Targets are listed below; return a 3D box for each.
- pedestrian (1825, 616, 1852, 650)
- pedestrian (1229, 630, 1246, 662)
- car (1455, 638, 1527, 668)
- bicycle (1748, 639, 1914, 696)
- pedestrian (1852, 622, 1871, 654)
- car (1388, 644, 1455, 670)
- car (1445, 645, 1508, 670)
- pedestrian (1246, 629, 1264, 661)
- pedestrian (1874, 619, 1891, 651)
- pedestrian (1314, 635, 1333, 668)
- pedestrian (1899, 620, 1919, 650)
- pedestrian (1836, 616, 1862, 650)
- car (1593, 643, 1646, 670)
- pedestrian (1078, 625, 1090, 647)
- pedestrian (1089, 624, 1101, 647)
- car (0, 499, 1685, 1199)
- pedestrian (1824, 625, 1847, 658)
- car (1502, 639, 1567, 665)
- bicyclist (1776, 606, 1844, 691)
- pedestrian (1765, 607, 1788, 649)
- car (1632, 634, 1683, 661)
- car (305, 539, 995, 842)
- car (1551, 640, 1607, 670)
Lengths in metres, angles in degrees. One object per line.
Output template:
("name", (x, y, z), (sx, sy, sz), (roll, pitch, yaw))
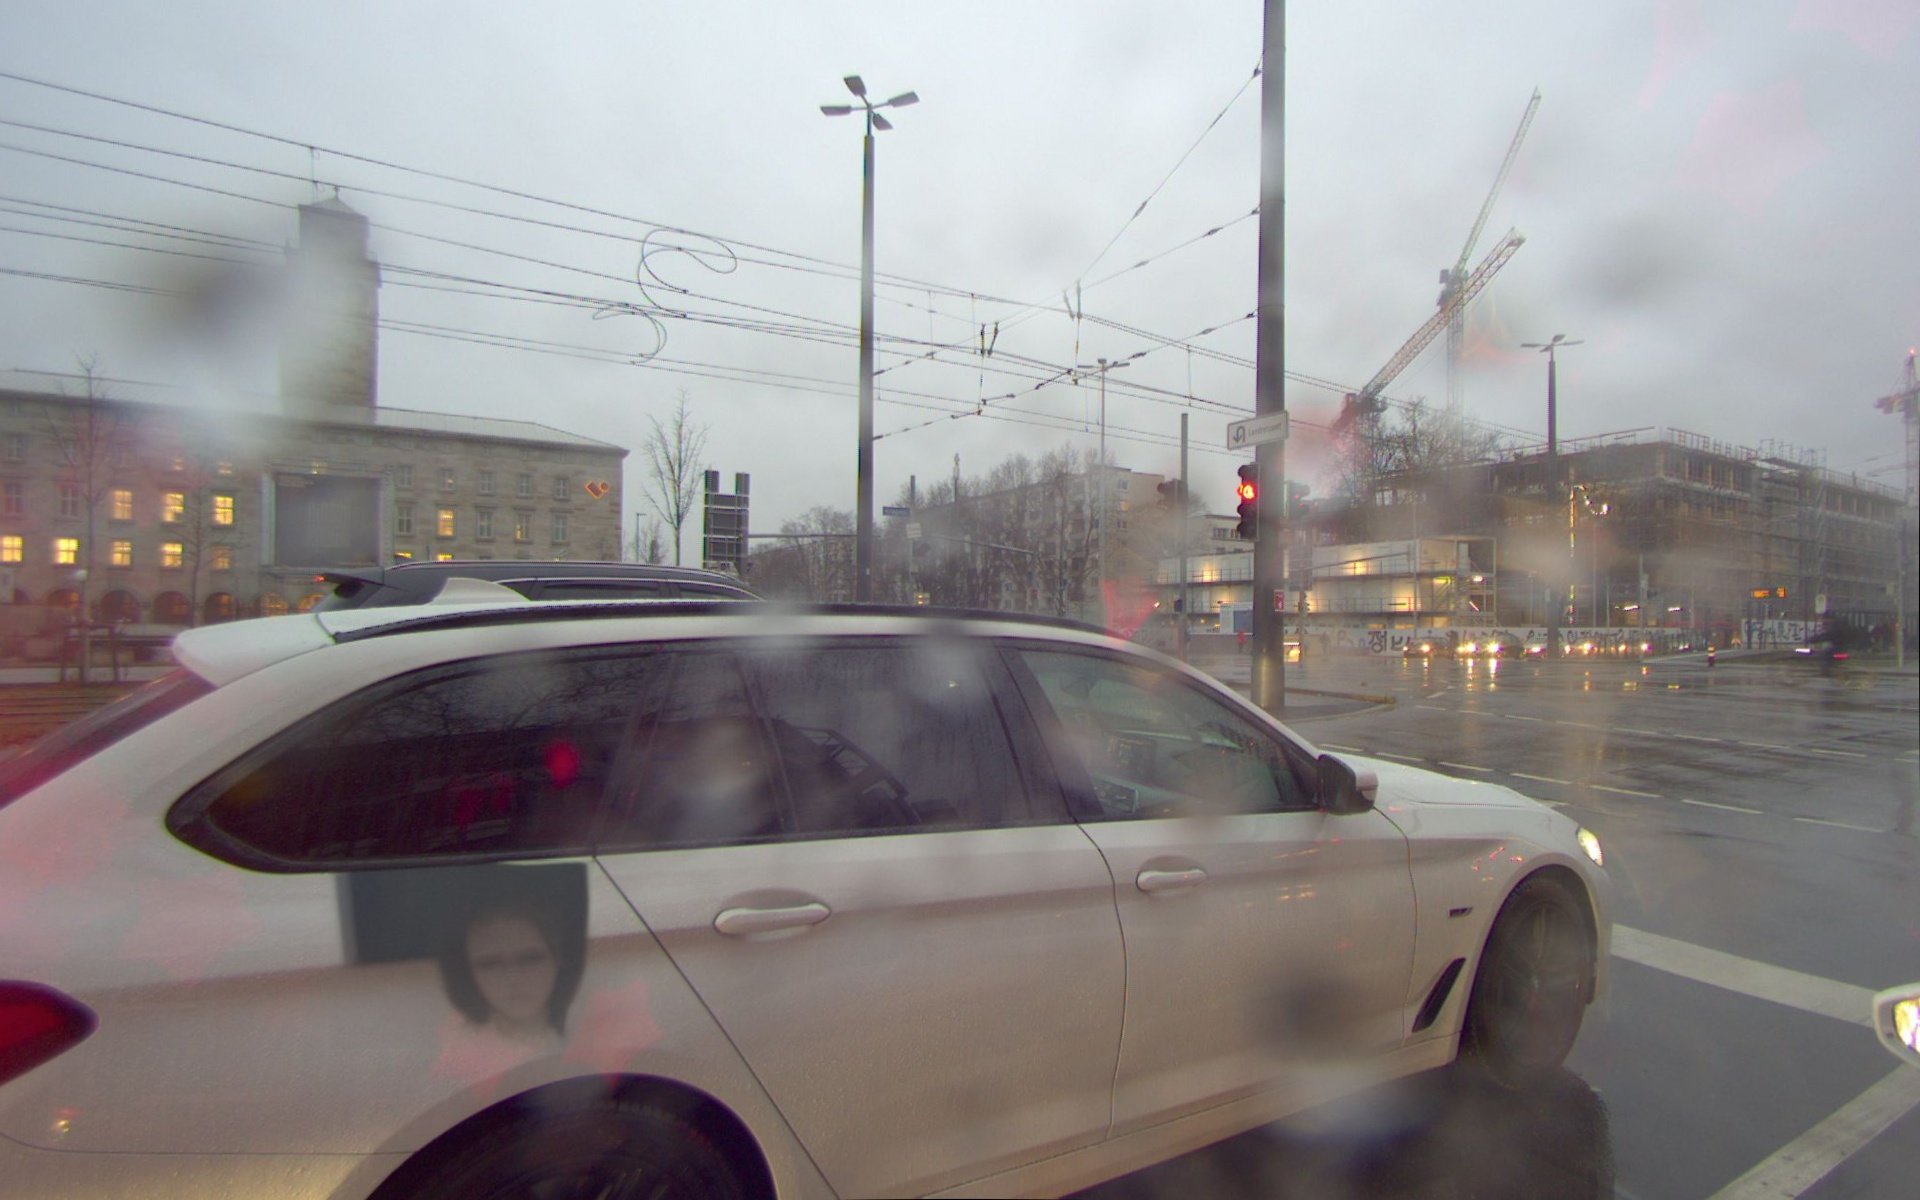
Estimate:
("pedestrian", (53.998, 2.013, 61.753), (1.082, 2.040, 0.937), (2, 0, -32))
("pedestrian", (18.317, 3.019, 66.320), (0.620, 2.040, 0.856), (2, 0, -37))
("car", (31.251, 3.114, 59.091), (3.953, 1.679, 1.984), (2, -2, -30))
("bicycle", (19.992, 1.518, 23.134), (2.825, 1.114, 0.741), (2, 0, 43))
("pedestrian", (54.514, 2.285, 60.722), (0.547, 1.906, 0.695), (2, 0, -30))
("car", (29.185, 3.575, 63.547), (3.953, 1.550, 1.984), (2, -2, -30))
("car", (34.787, 3.856, 67.600), (3.953, 1.550, 1.984), (2, -2, -30))
("pedestrian", (19.452, 2.957, 66.198), (0.737, 2.040, 0.783), (2, 0, -25))
("pedestrian", (57.938, 2.180, 63.086), (0.659, 1.994, 0.566), (2, 1, -36))
("pedestrian", (24.668, 3.517, 68.200), (0.758, 2.194, 0.867), (2, 0, -38))
("pedestrian", (66.063, 2.419, 69.755), (1.082, 2.040, 0.937), (2, 0, -32))
("pedestrian", (55.643, 2.069, 62.860), (1.082, 2.040, 0.937), (2, 0, -32))
("car", (46.507, 3.955, 70.813), (3.965, 1.814, 1.978), (2, 0, -38))
("pedestrian", (10.365, 3.025, 83.742), (0.714, 1.800, 0.789), (1, -1, -23))
("pedestrian", (11.313, 2.999, 84.245), (0.709, 1.927, 0.787), (1, -1, -31))
("car", (0.000, 0.697, 3.067), (4.508, 1.506, 2.007), (2, -2, -31))
("pedestrian", (51.645, 2.437, 59.251), (0.754, 1.922, 0.761), (3, -1, -30))
("car", (35.877, 3.247, 62.717), (4.577, 1.550, 2.059), (2, -2, -40))
("bicyclist", (19.762, 1.114, 23.361), (1.143, 1.896, 0.741), (2, 0, 42))
("pedestrian", (47.093, 1.624, 57.950), (0.754, 2.354, 0.761), (3, -1, -30))
("car", (51.183, 3.461, 73.740), (3.965, 1.814, 1.978), (2, 0, -38))
("car", (-2.069, 0.552, 7.232), (4.238, 1.605, 1.958), (2, -1, -29))
("car", (41.069, 3.647, 66.593), (3.963, 1.852, 1.852), (2, 0, -37))
